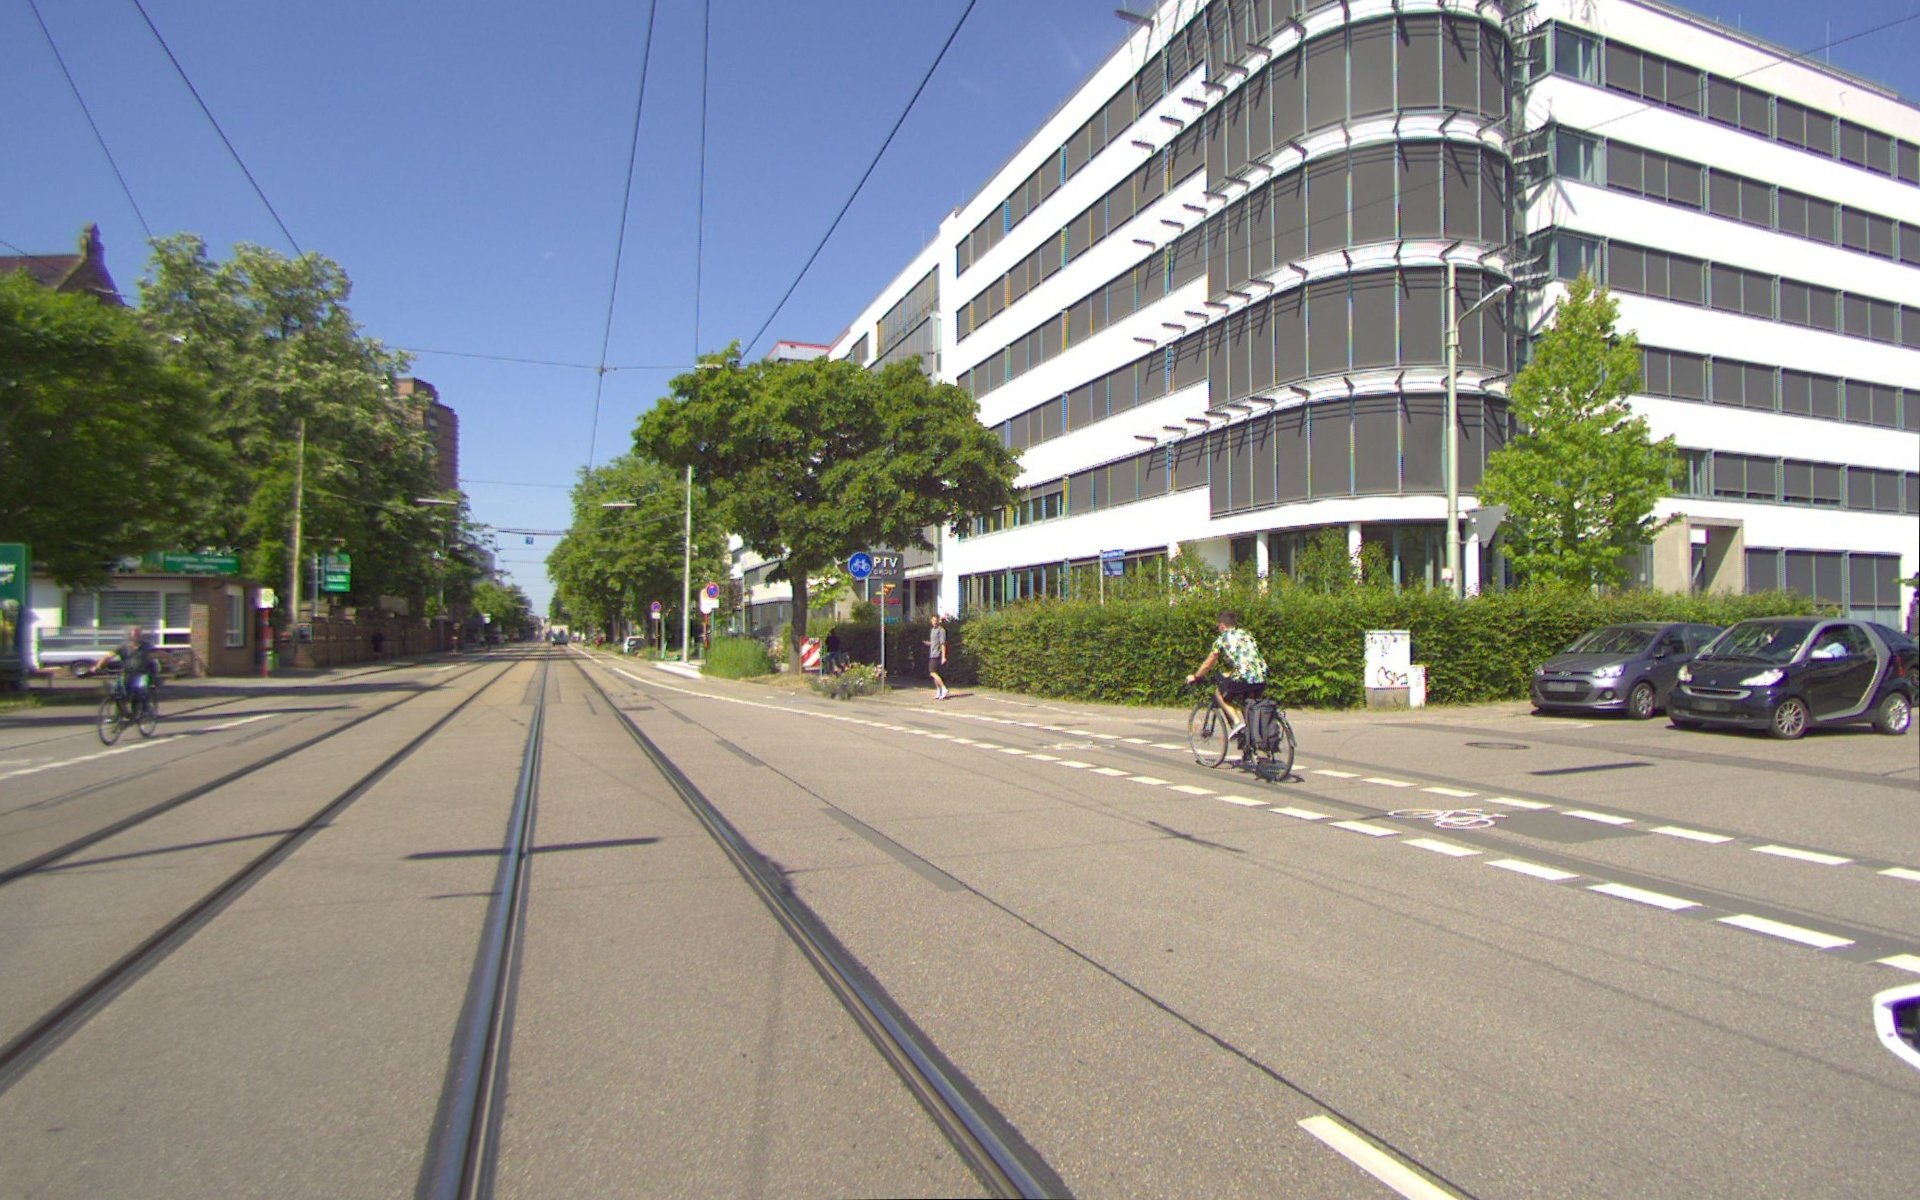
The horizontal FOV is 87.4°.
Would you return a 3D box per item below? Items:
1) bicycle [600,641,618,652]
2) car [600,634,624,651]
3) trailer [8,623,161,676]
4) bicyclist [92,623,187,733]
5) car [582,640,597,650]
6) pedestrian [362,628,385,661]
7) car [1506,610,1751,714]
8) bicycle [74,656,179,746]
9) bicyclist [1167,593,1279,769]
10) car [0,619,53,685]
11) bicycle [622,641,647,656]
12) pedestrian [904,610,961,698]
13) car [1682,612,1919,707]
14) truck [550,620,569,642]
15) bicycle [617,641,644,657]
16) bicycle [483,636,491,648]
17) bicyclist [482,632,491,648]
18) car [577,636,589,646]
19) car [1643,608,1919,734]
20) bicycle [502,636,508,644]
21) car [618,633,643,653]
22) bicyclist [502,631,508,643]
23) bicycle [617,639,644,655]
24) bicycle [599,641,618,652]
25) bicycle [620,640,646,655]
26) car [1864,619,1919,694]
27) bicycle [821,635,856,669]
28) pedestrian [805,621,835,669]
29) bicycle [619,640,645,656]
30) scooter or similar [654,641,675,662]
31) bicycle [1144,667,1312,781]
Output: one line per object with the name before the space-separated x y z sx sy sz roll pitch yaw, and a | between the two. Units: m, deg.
bicycle | -34.527 4.567 98.827 1.705 1.100 0.476 0 -2 -24
car | -31.499 3.829 90.865 1.613 1.503 4.247 0 -2 -25
trailer | -27.823 1.555 32.051 3.237 1.624 1.715 1 -2 -22
bicyclist | -12.640 1.176 15.512 0.894 1.616 0.959 0 -2 -24
car | -49.839 6.058 135.211 1.613 1.373 3.878 0 -2 -25
pedestrian | -33.198 2.499 56.896 0.965 1.839 1.179 0 -2 -23
car | 10.943 0.958 16.451 3.645 1.547 1.695 0 -2 -25
bicycle | -12.652 1.492 15.321 0.603 1.213 2.112 0 -1 -22
bicyclist | 2.756 0.826 10.614 0.707 1.747 0.983 0 -2 -20
car | -25.253 1.264 24.186 1.981 1.662 4.660 -1 -2 21
bicycle | -23.748 3.534 73.332 1.705 1.100 0.636 0 -2 -24
pedestrian | -0.610 1.163 21.896 0.881 1.842 1.066 1 -2 -27
car | 15.134 1.001 17.988 4.112 1.539 1.804 0 -2 -25
truck | -57.955 4.499 145.298 2.376 3.149 6.005 1 -2 -23
bicycle | -22.905 3.415 69.776 1.705 1.100 0.785 0 -2 -24
bicycle | -45.957 4.072 97.621 0.585 1.120 2.043 0 -2 -22
bicyclist | -45.970 3.857 97.595 0.732 1.551 0.942 0 -2 -23
car | -58.516 6.291 155.679 1.612 1.491 4.092 0 -2 -23
car | 11.164 0.918 13.657 2.924 1.559 1.476 -1 -1 -12
bicycle | -65.396 5.700 144.338 0.655 1.169 2.003 0 -2 -22
car | -26.119 3.377 79.558 1.611 1.491 3.612 1 -2 -22
bicyclist | -65.429 5.289 144.439 0.717 1.721 1.140 -1 -2 -23
bicycle | -24.844 3.558 75.828 1.883 1.185 0.814 0 -2 -24
bicycle | -34.369 4.541 98.274 1.705 1.100 0.611 0 -2 -24
bicycle | -24.120 3.492 74.132 1.773 1.100 0.722 0 -2 -24
car | 20.411 1.115 20.354 3.798 1.463 1.773 1 -2 -25
bicycle | -4.192 1.761 34.473 0.629 1.132 2.055 1 -2 -24
pedestrian | -4.792 1.529 34.370 0.679 1.584 0.982 -1 -1 -27
bicycle | -24.352 3.582 74.603 1.829 1.147 0.677 0 -2 -24
scooter or similar | -16.980 2.939 57.737 1.112 1.182 0.673 0 -2 -21
bicycle | 2.759 1.244 10.623 0.601 0.997 2.154 0 -2 -20
